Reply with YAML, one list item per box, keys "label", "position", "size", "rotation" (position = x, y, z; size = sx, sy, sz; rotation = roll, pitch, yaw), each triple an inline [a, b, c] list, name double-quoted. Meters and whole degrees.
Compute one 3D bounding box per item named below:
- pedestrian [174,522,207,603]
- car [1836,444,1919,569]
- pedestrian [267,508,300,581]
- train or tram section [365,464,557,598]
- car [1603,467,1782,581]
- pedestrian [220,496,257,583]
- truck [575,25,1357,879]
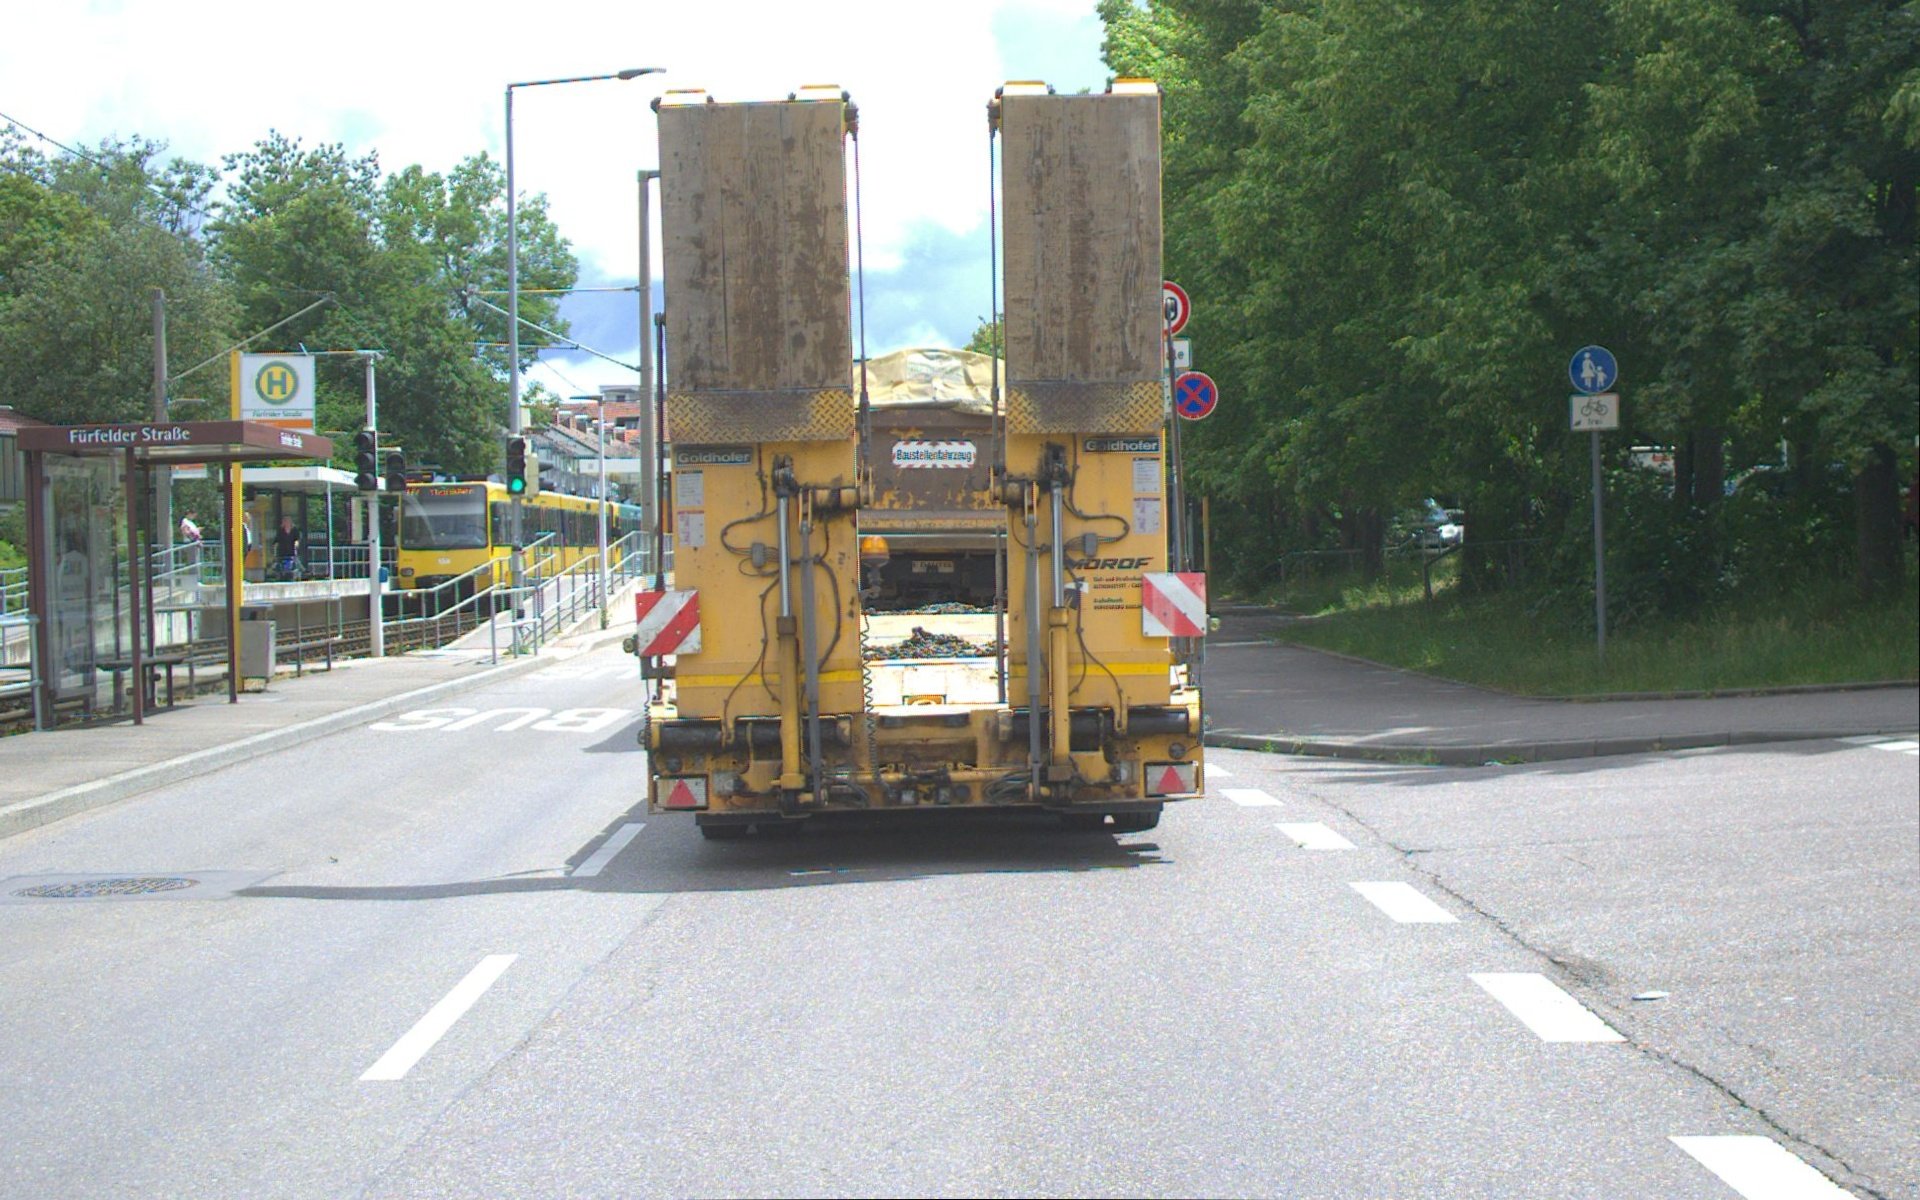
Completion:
- label: "pedestrian"
  position: [-16.910, -0.831, 75.514]
  size: [0.584, 1.771, 0.576]
  rotation: [1, 1, -1]
- label: "car"
  position: [12.304, -1.190, 42.941]
  size: [1.661, 1.495, 3.663]
  rotation: [-3, 1, -1]
- label: "pedestrian"
  position: [-16.004, -1.316, 81.337]
  size: [0.639, 1.701, 0.646]
  rotation: [1, 1, 0]
- label: "train or tram section"
  position: [-14.087, -1.906, 98.865]
  size: [3.108, 3.453, 18.827]
  rotation: [1, 1, -1]
- label: "car"
  position: [10.929, -1.119, 51.519]
  size: [1.626, 1.509, 4.139]
  rotation: [-4, 1, -1]
- label: "pedestrian"
  position: [-16.753, -1.402, 79.843]
  size: [0.712, 2.007, 0.732]
  rotation: [1, 1, -3]
- label: "truck"
  position: [-0.363, -0.749, 21.998]
  size: [3.402, 3.719, 13.740]
  rotation: [-1, 1, -3]
